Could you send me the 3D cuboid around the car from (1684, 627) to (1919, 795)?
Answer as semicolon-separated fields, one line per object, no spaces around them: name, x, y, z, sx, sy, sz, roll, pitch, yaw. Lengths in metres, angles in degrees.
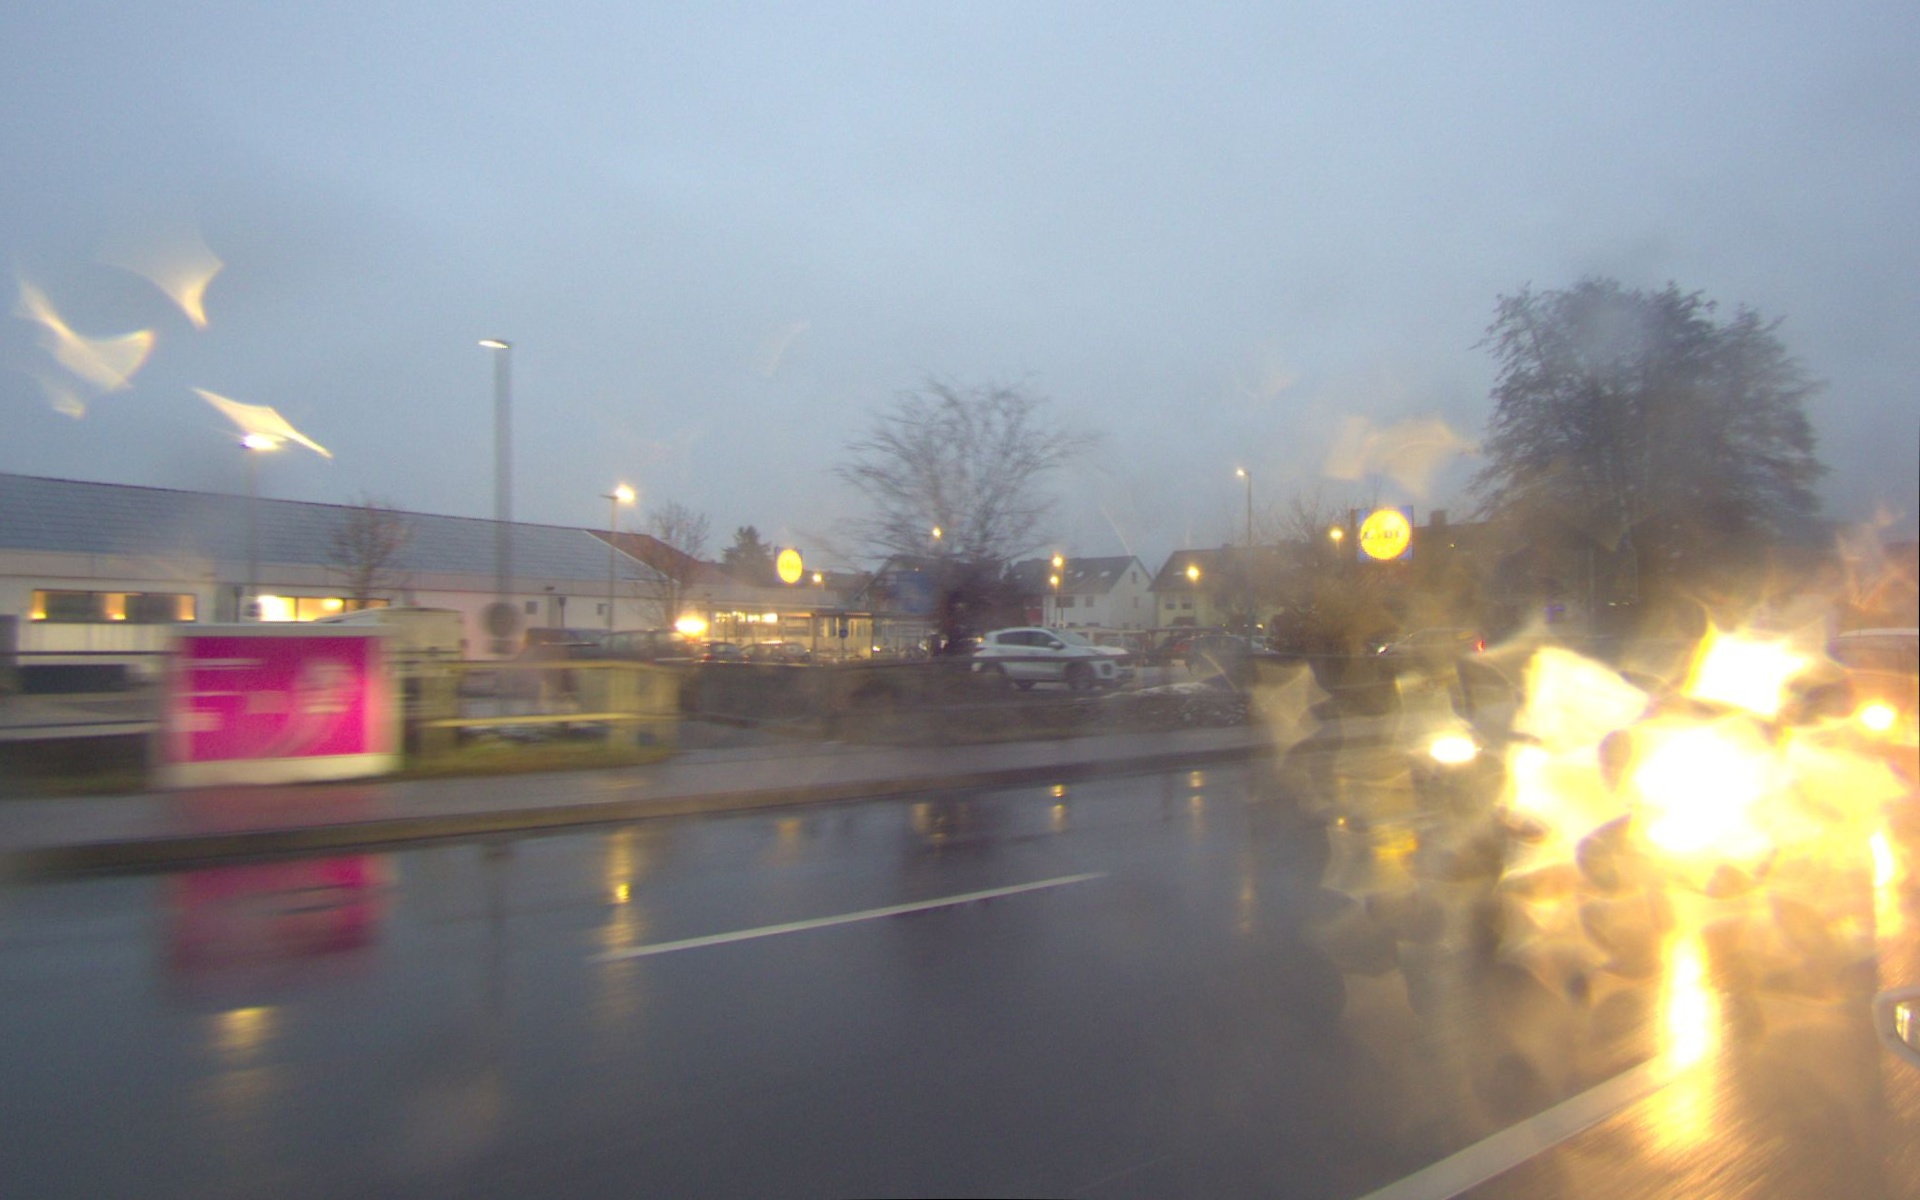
car;9.630;1.066;11.057;4.009;1.514;1.757;1;-2;-40

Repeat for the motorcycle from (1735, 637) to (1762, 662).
motorcycle;34.185;2.122;43.538;0.855;1.037;2.100;0;-2;40

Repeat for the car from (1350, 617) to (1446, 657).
car;24.105;2.004;55.300;4.578;2.003;2.124;1;0;31

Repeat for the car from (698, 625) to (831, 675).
car;-6.792;1.746;34.730;4.373;1.584;2.048;-3;-2;36

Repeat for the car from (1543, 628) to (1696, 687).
car;22.687;1.924;34.629;4.176;1.722;1.891;2;0;40

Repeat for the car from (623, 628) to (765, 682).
car;-8.466;1.750;31.893;4.373;1.584;2.048;-3;-2;36

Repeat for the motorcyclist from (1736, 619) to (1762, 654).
motorcyclist;34.113;1.572;43.445;0.855;1.505;0.905;0;-2;40

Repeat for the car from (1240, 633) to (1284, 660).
car;20.811;3.169;69.145;1.672;1.662;3.696;2;1;37

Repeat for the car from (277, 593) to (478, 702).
car;-13.836;1.138;23.754;5.118;2.312;2.211;-3;-2;36

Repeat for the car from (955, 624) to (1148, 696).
car;2.352;1.518;26.385;4.707;1.734;2.027;-1;-2;35

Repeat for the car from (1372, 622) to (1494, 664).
car;19.958;1.794;42.453;4.351;1.694;1.961;-1;-1;37

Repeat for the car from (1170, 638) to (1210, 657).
car;16.366;3.375;71.293;1.540;1.146;3.380;2;1;37

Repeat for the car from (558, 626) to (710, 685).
car;-9.608;1.639;29.519;4.373;1.584;2.048;-3;-2;36

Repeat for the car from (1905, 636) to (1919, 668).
car;43.163;2.277;44.358;1.821;1.349;3.918;-3;-3;40

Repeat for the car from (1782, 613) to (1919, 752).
car;13.409;1.089;14.373;4.385;1.746;1.757;1;-2;-40

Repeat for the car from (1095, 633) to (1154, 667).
car;9.160;2.738;55.688;1.885;1.638;3.990;1;0;32

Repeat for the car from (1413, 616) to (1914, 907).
car;5.048;0.906;7.046;3.960;1.505;1.652;2;-2;-35

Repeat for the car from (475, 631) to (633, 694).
car;-11.316;1.735;27.895;4.373;1.584;2.048;-3;-2;36
